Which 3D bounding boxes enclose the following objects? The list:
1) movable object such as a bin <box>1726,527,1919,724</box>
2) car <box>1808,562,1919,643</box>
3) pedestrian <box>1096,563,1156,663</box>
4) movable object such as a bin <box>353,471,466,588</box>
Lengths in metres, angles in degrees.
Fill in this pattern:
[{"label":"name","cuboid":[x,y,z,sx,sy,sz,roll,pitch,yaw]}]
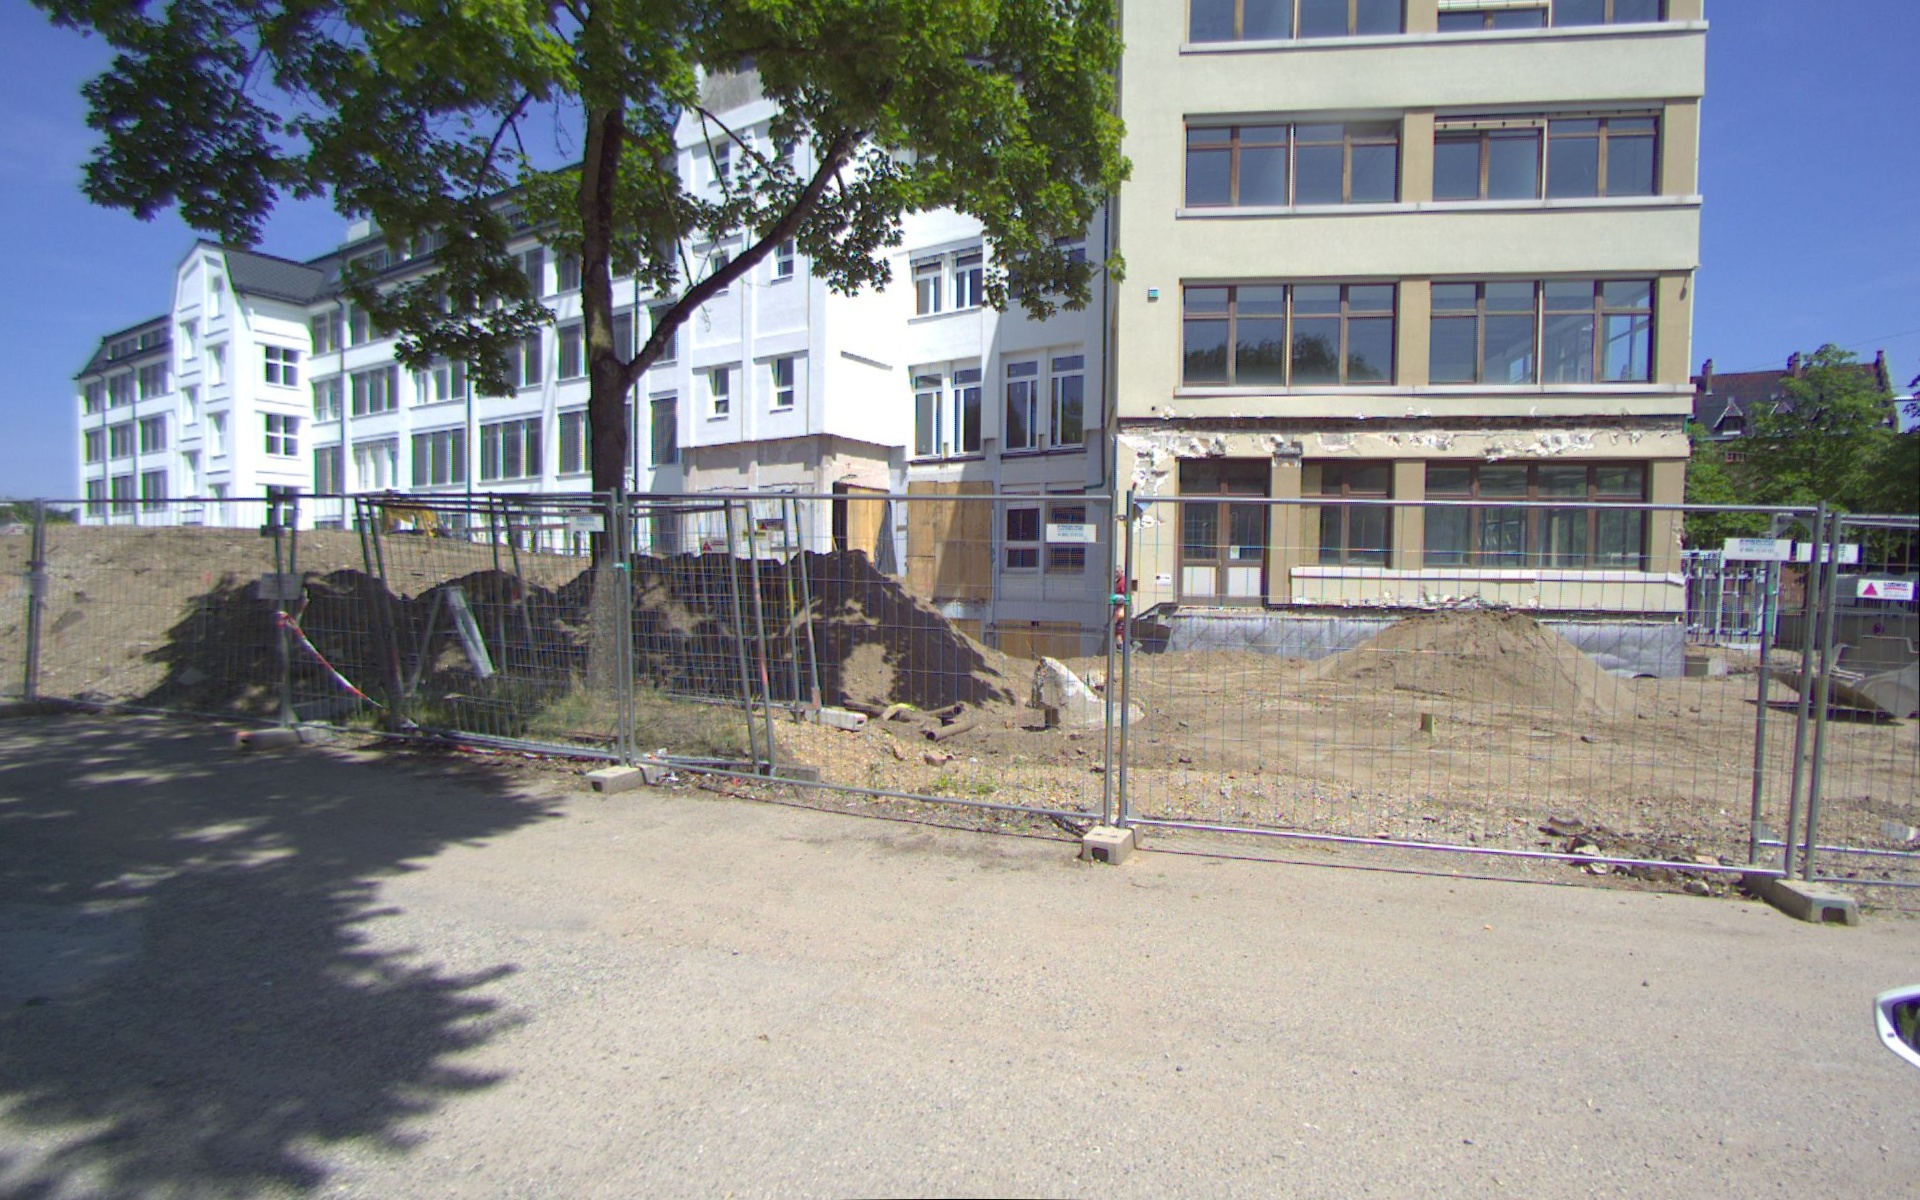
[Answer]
[{"label":"movable object such as a bin","cuboid":[14.036,0.373,13.525,5.313,2.497,2.368,3,2,19]},{"label":"car","cuboid":[30.232,0.094,32.193,1.960,2.449,5.245,1,0,5]},{"label":"pedestrian","cuboid":[3.192,0.244,19.402,0.967,1.871,0.917,1,1,-1]},{"label":"movable object such as a bin","cuboid":[-22.521,-2.746,40.991,5.634,4.431,1.992,1,1,38]}]
